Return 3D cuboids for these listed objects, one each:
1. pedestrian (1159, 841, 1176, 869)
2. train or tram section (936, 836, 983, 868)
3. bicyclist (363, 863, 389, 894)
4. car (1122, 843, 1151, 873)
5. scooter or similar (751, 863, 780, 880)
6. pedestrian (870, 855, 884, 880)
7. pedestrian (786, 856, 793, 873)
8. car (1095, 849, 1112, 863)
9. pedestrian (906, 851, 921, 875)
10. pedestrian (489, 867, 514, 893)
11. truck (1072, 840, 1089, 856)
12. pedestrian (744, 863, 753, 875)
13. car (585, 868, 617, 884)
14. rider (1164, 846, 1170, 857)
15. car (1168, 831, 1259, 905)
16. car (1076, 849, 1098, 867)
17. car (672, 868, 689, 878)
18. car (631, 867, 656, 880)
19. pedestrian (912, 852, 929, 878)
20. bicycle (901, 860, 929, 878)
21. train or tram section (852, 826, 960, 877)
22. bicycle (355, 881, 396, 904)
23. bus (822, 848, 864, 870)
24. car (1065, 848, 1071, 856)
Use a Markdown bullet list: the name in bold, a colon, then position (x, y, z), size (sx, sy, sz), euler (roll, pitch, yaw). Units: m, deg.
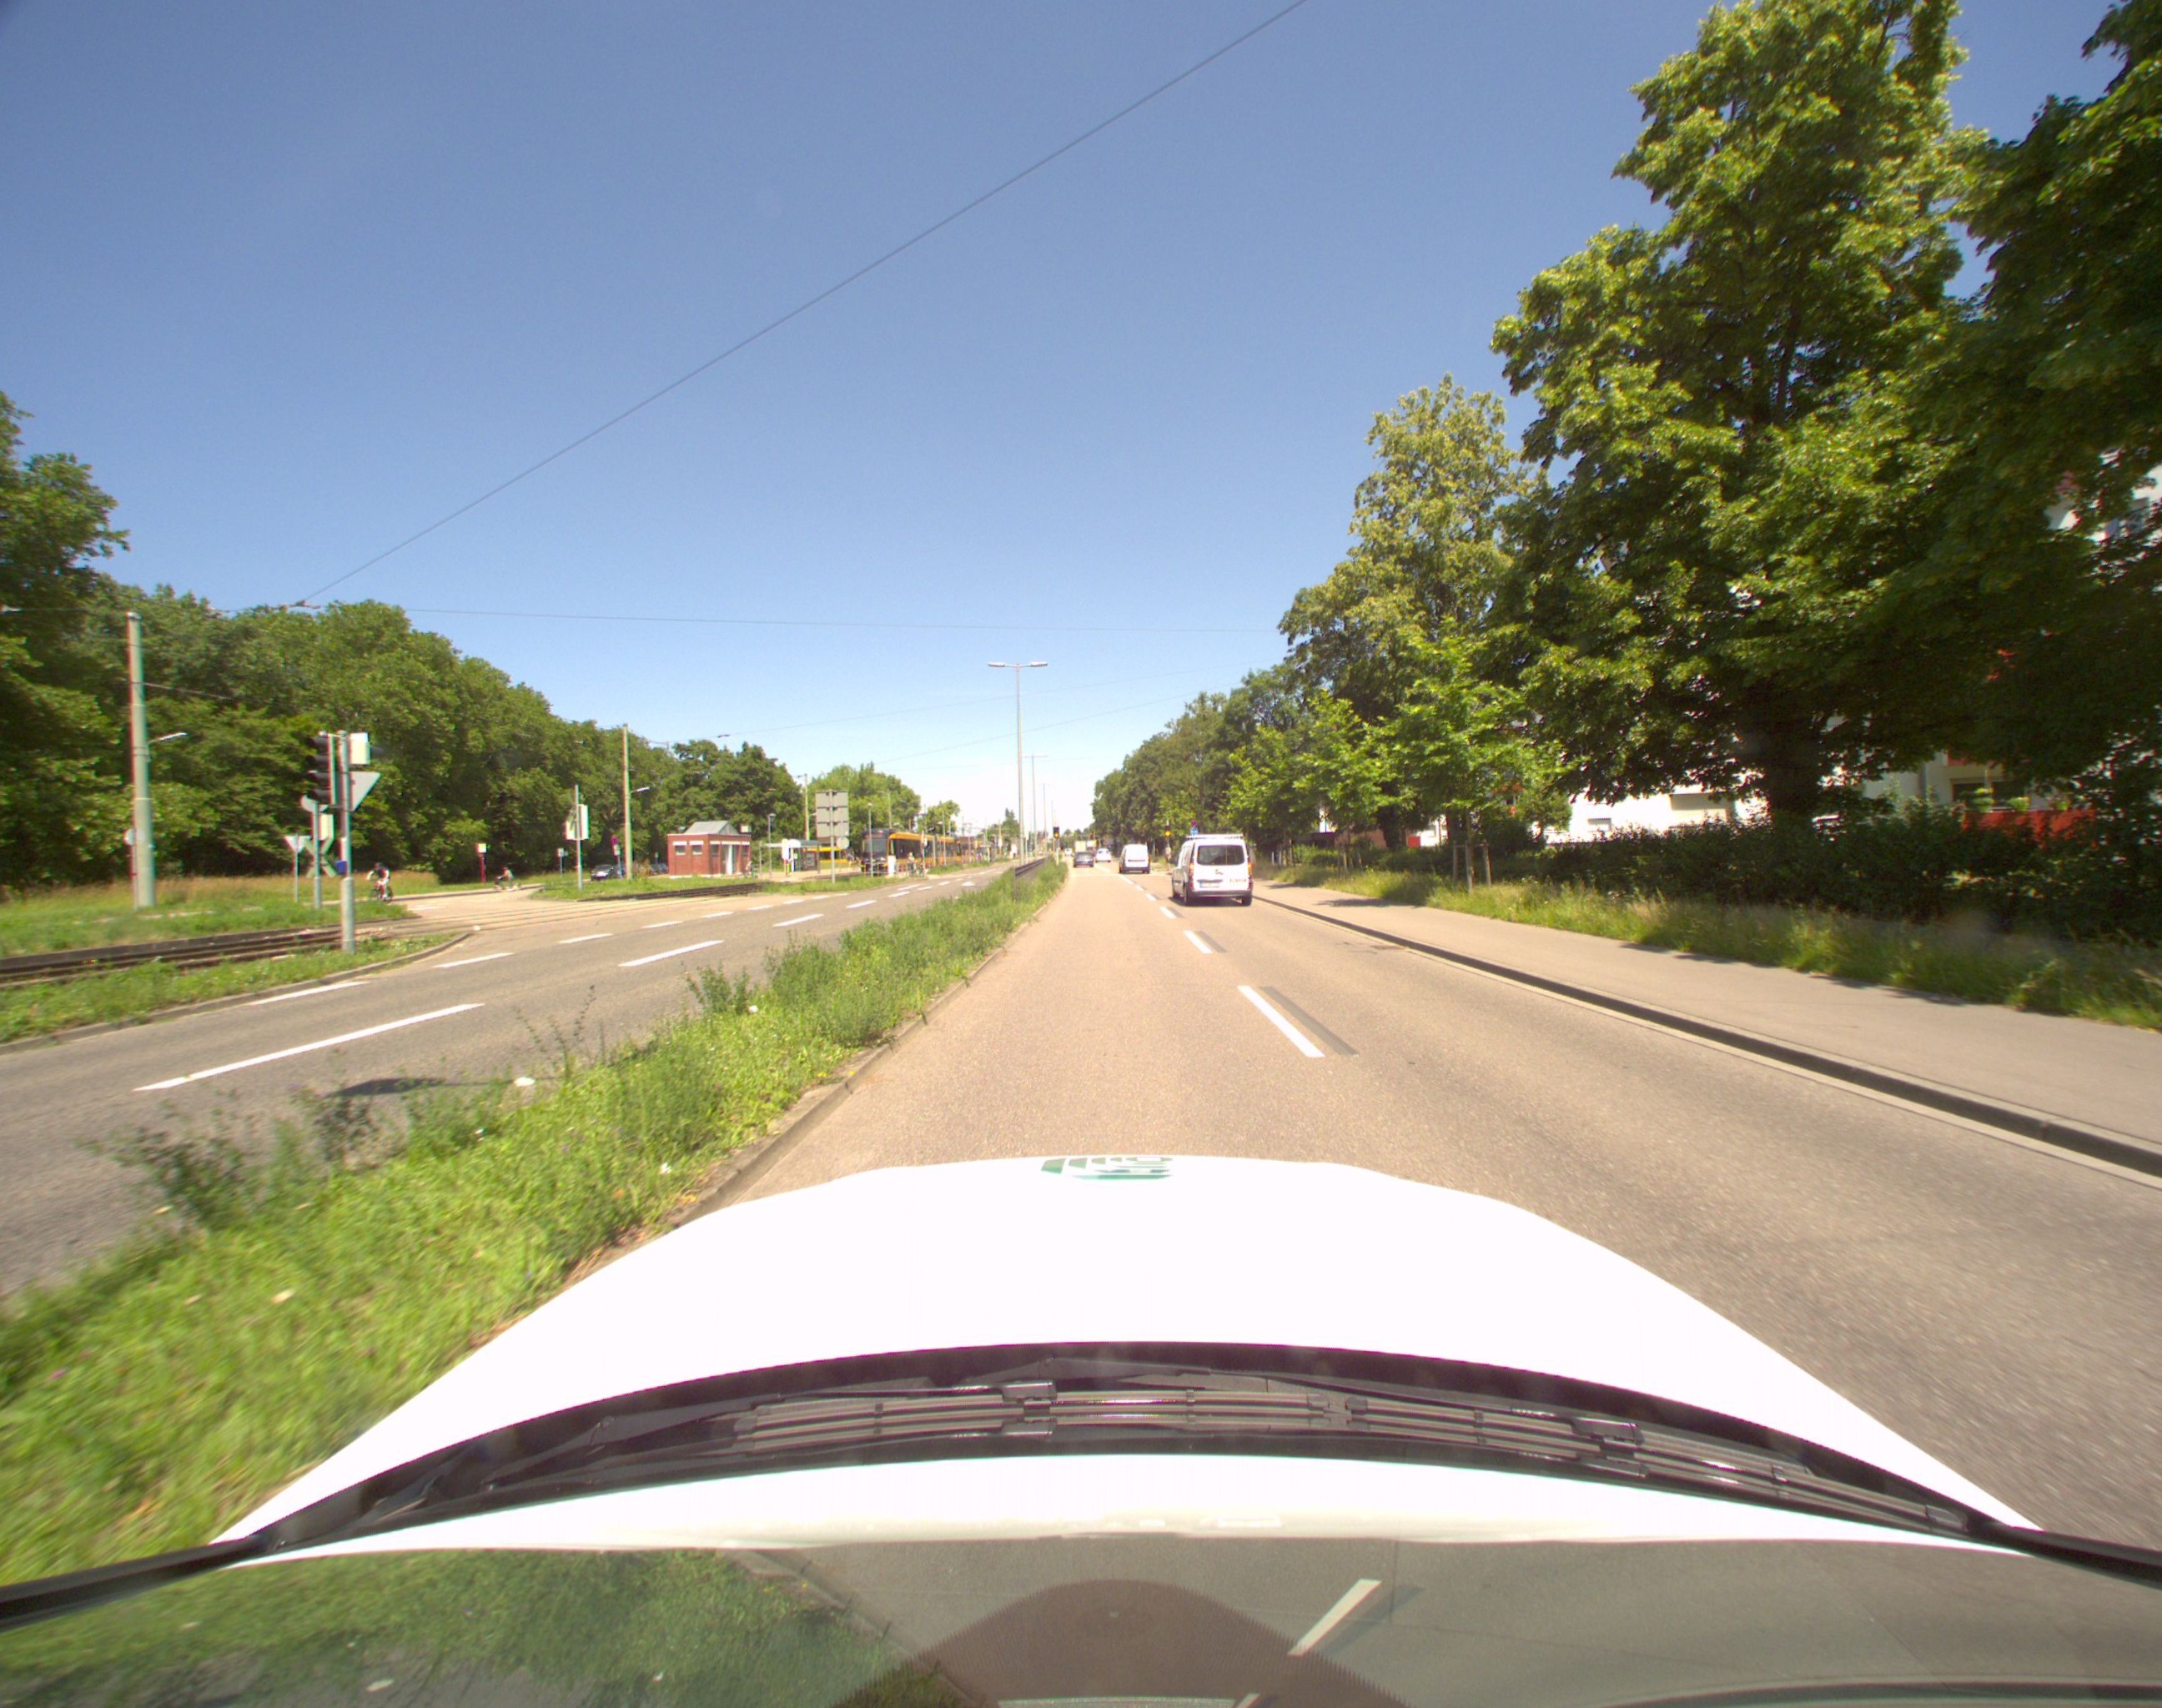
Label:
- **pedestrian**: position (5.829, 0.063, 54.977), size (1.040, 1.850, 0.759), euler (-1, 0, 11)
- **train or tram section**: position (-15.955, -0.258, 109.337), size (2.780, 3.668, 25.986), euler (-1, 0, -1)
- **bicyclist**: position (-30.236, 1.042, 34.927), size (0.507, 1.336, 0.679), euler (-1, 0, -7)
- **car**: position (3.428, 0.232, 50.951), size (1.721, 1.813, 4.002), euler (0, 1, 2)
- **scooter or similar**: position (-21.043, 1.154, 54.331), size (0.605, 1.127, 1.684), euler (-1, 0, 43)
- **pedestrian**: position (-13.062, 0.876, 52.135), size (0.540, 1.541, 0.859), euler (-2, 0, -38)
- **pedestrian**: position (-25.352, 0.939, 70.846), size (0.460, 1.435, 0.524), euler (-1, 0, -3)
- **car**: position (2.573, 0.224, 94.689), size (1.798, 1.540, 3.997), euler (-1, 0, -2)
- **pedestrian**: position (-11.724, 0.630, 56.946), size (0.815, 1.628, 0.706), euler (-1, 0, 4)
- **pedestrian**: position (-39.544, 1.791, 55.542), size (0.511, 1.701, 1.278), euler (-1, 0, 44)
- **truck**: position (-0.221, -1.416, 194.427), size (3.888, 3.812, 10.787), euler (-2, 0, -1)
- **pedestrian**: position (-27.417, 1.228, 67.090), size (0.480, 1.018, 0.522), euler (-2, 0, 1)
- **car**: position (-46.176, 2.094, 78.475), size (2.001, 1.467, 3.971), euler (-1, 0, -21)
- **rider**: position (10.359, -0.335, 97.806), size (0.676, 1.281, 0.533), euler (-1, 0, -2)
- **car**: position (3.603, 0.344, 22.941), size (1.818, 1.882, 4.455), euler (-1, 0, 0)
- **car**: position (0.533, 0.345, 71.182), size (1.796, 1.486, 3.999), euler (-2, 1, -1)
- **car**: position (-66.034, 3.104, 134.285), size (1.999, 1.467, 3.975), euler (-1, 0, -18)
- **car**: position (-53.443, 2.416, 99.612), size (1.999, 1.467, 3.975), euler (-1, 0, -18)
- **pedestrian**: position (-11.547, 0.778, 58.612), size (0.949, 1.797, 0.709), euler (-1, 0, 28)
- **bicycle**: position (-11.607, 1.049, 56.919), size (1.855, 1.157, 0.243), euler (-1, 0, 3)
- **train or tram section**: position (-15.404, -0.204, 77.578), size (2.780, 3.668, 37.499), euler (-1, 0, -1)
- **bicycle**: position (-30.229, 1.638, 34.925), size (0.507, 0.901, 1.562), euler (-1, 0, -6)
- **bus**: position (-41.617, 0.874, 142.299), size (7.465, 3.566, 2.011), euler (-1, 0, 24)
- **car**: position (-3.362, -0.545, 210.403), size (1.683, 1.897, 3.868), euler (-2, 0, -1)
